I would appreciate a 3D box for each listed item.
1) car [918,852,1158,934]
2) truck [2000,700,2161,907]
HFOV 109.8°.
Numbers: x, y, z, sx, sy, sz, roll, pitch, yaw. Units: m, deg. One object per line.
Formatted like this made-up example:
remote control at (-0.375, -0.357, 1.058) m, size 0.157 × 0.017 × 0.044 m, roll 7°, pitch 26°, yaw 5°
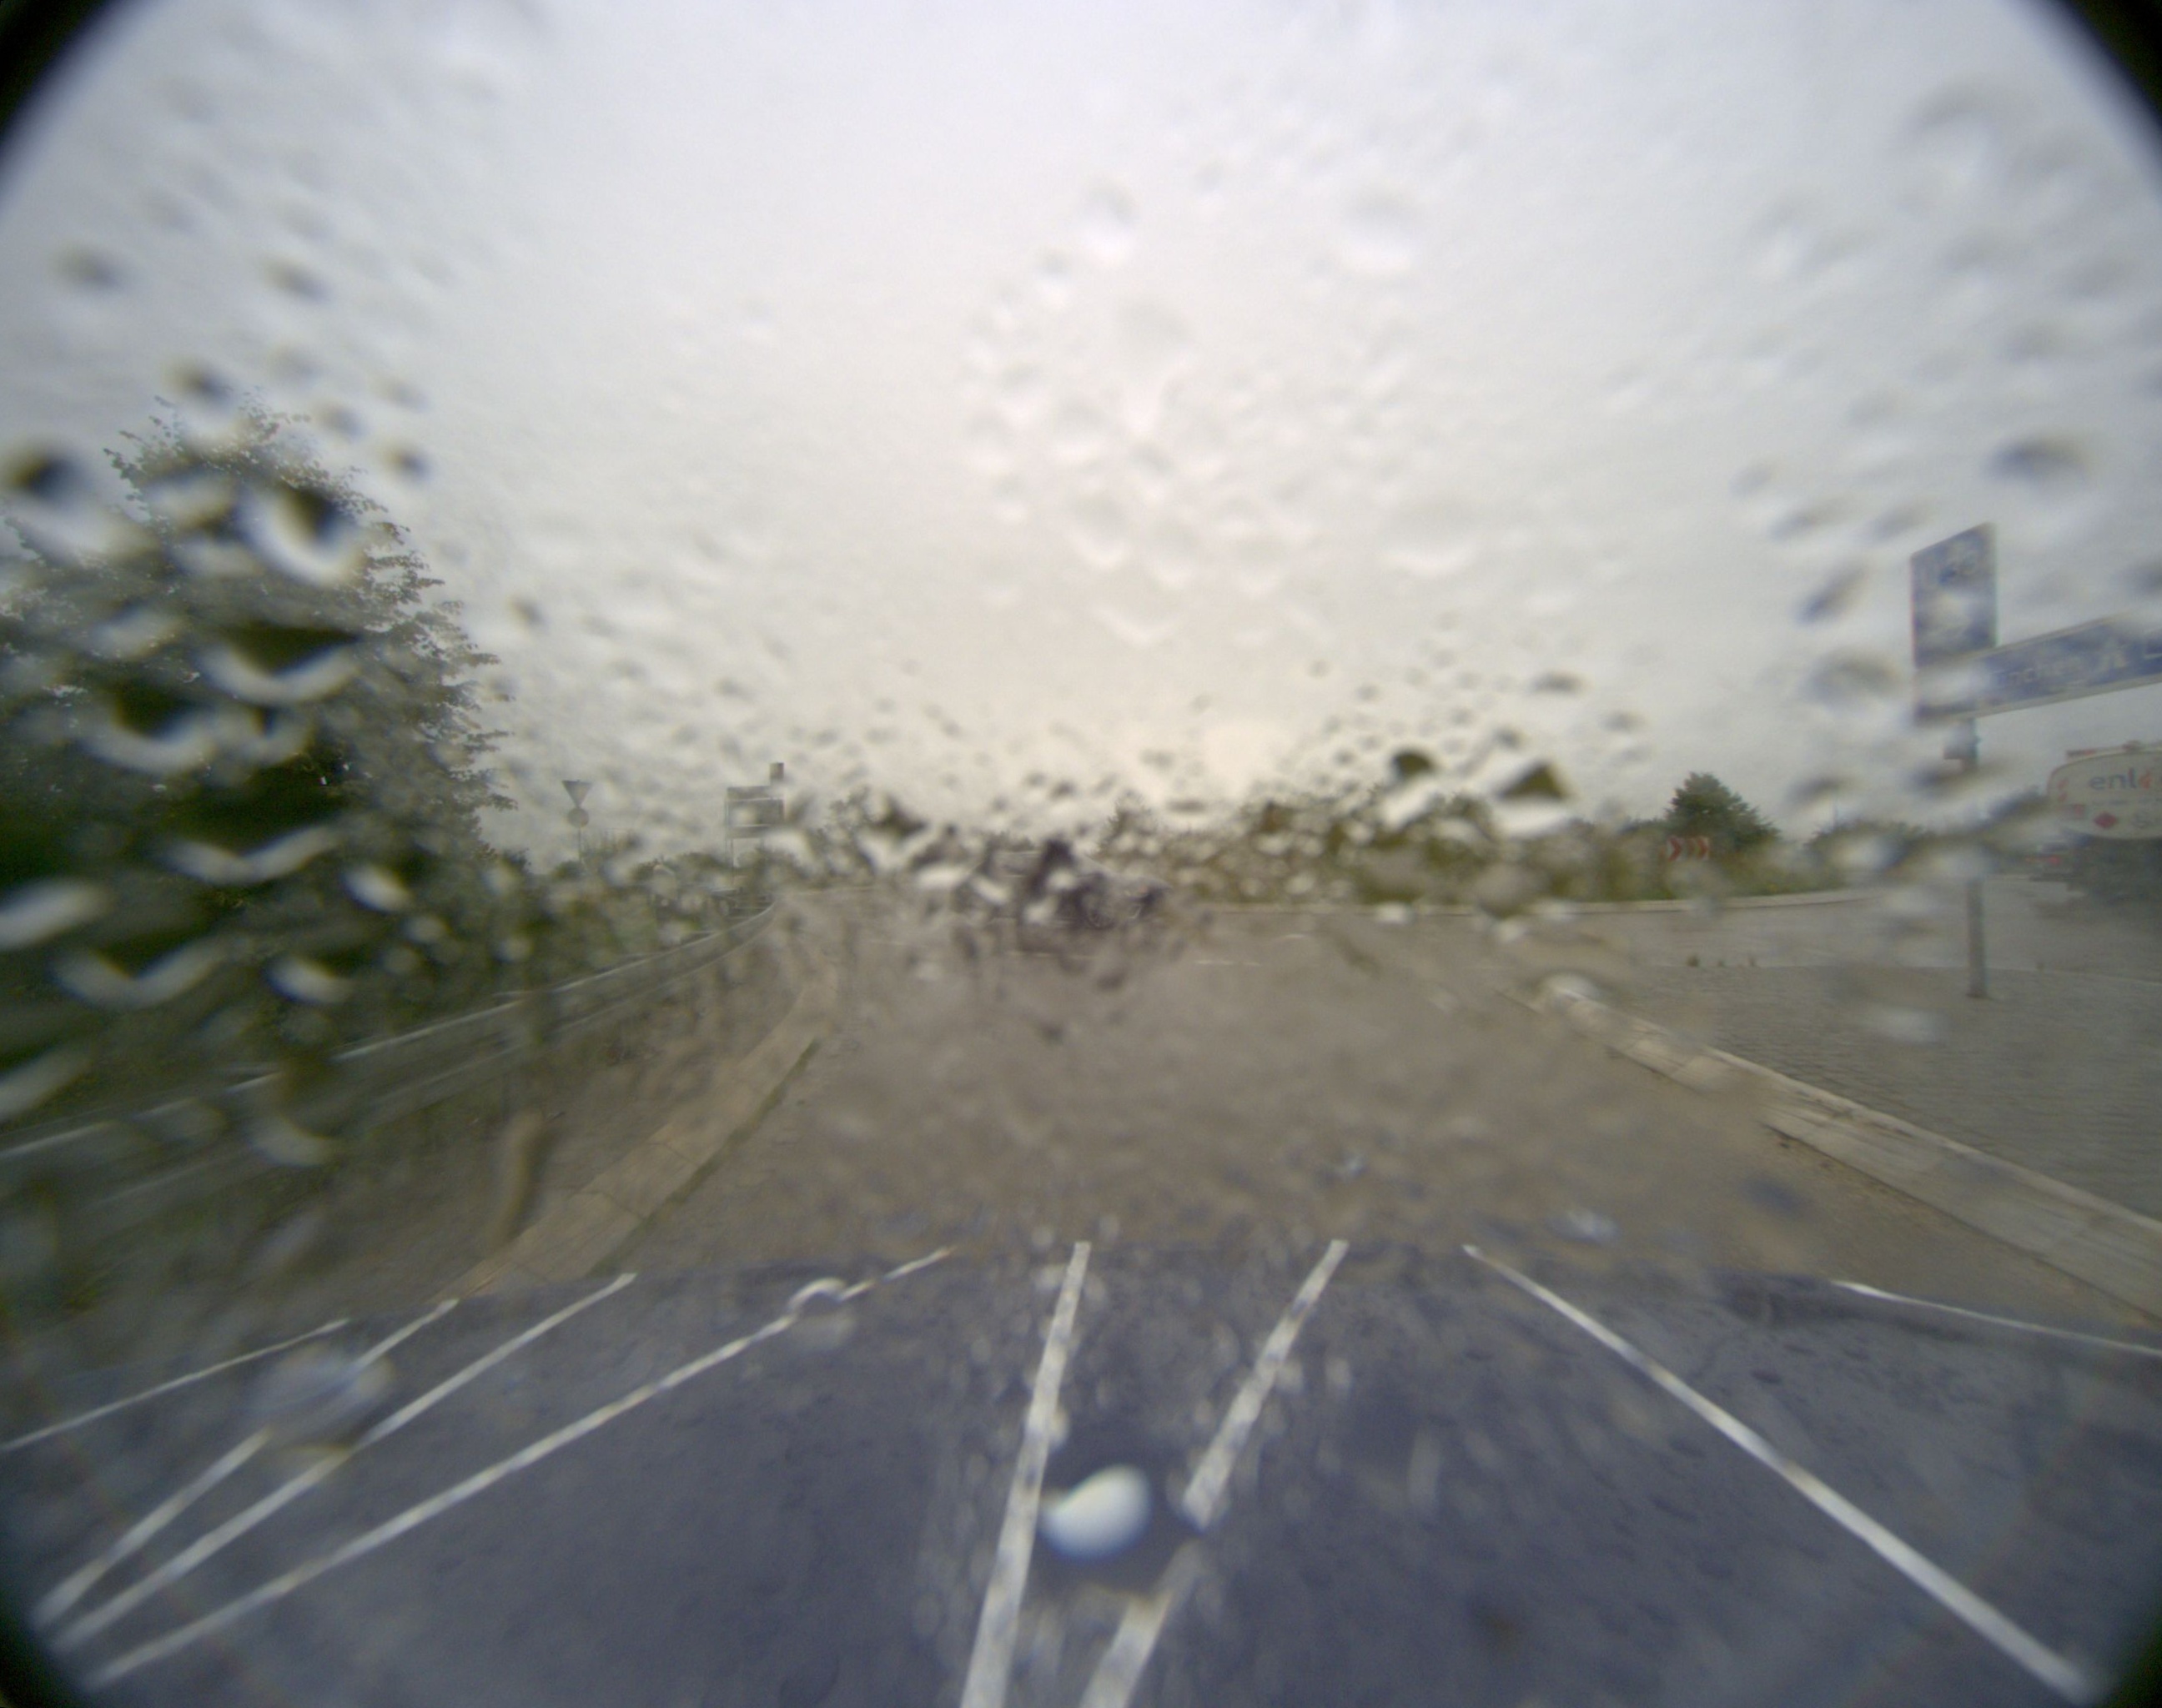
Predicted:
car at (-0.944, 0.725, 15.121) m, size 4.552 × 1.361 × 1.914 m, roll -2°, pitch 0°, yaw 36°
truck at (24.164, -1.060, 15.794) m, size 8.826 × 3.829 × 3.045 m, roll -2°, pitch 0°, yaw -15°
